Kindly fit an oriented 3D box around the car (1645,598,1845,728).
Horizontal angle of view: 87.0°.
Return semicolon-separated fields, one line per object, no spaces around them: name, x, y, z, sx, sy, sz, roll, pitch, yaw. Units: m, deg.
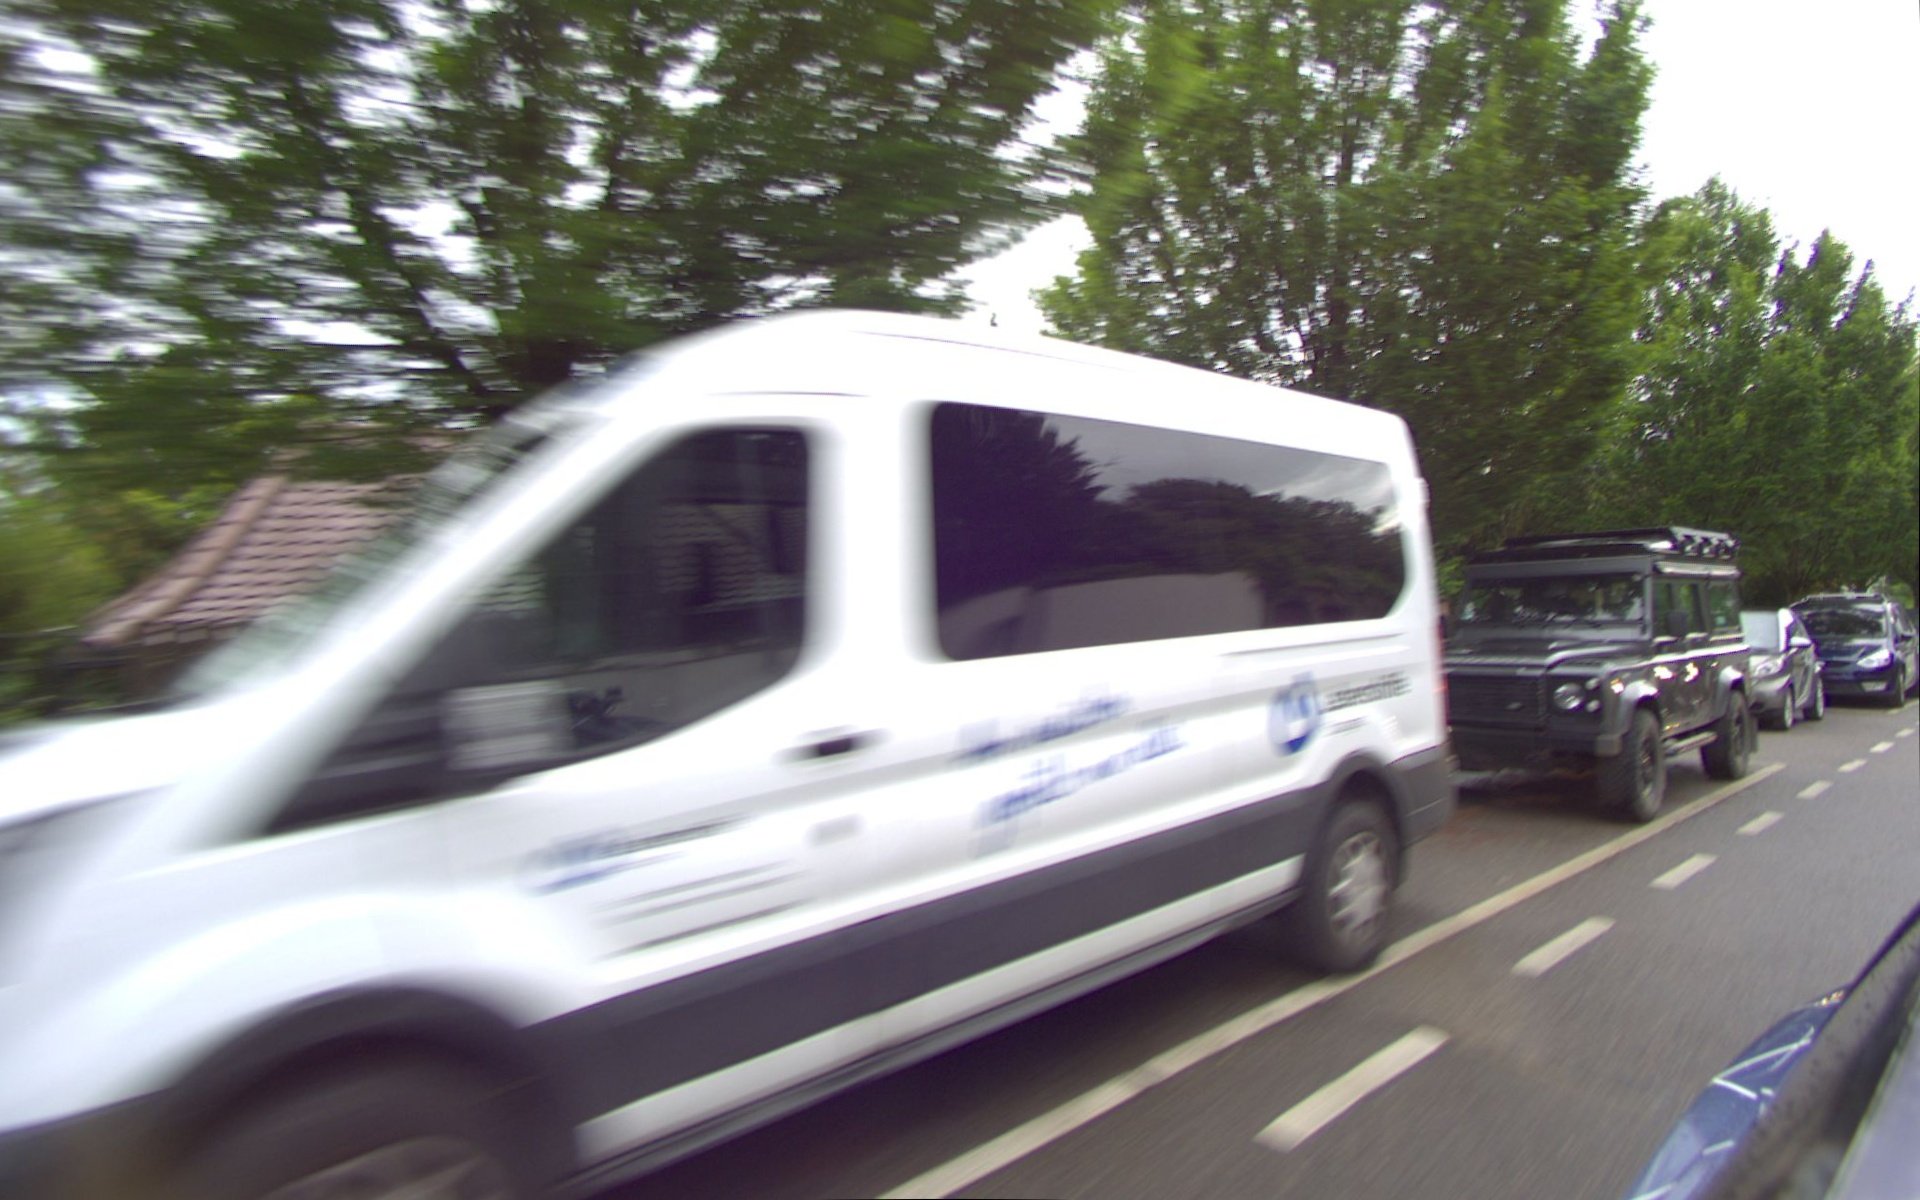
car;10.802;0.771;13.887;2.903;1.578;1.599;0;-1;-40

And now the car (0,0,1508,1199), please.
car;-0.286;0.257;3.876;5.928;2.525;2.176;0;-3;-41

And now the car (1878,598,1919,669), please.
car;23.207;0.761;23.797;3.850;1.591;1.697;0;-1;-37

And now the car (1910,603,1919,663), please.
car;27.321;0.836;27.073;4.760;1.557;1.998;0;-2;-38

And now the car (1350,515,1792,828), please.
car;5.723;0.485;9.153;5.033;2.078;1.996;0;-1;-42

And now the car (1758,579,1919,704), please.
car;14.959;0.623;16.895;4.598;1.806;1.782;0;-1;-42
